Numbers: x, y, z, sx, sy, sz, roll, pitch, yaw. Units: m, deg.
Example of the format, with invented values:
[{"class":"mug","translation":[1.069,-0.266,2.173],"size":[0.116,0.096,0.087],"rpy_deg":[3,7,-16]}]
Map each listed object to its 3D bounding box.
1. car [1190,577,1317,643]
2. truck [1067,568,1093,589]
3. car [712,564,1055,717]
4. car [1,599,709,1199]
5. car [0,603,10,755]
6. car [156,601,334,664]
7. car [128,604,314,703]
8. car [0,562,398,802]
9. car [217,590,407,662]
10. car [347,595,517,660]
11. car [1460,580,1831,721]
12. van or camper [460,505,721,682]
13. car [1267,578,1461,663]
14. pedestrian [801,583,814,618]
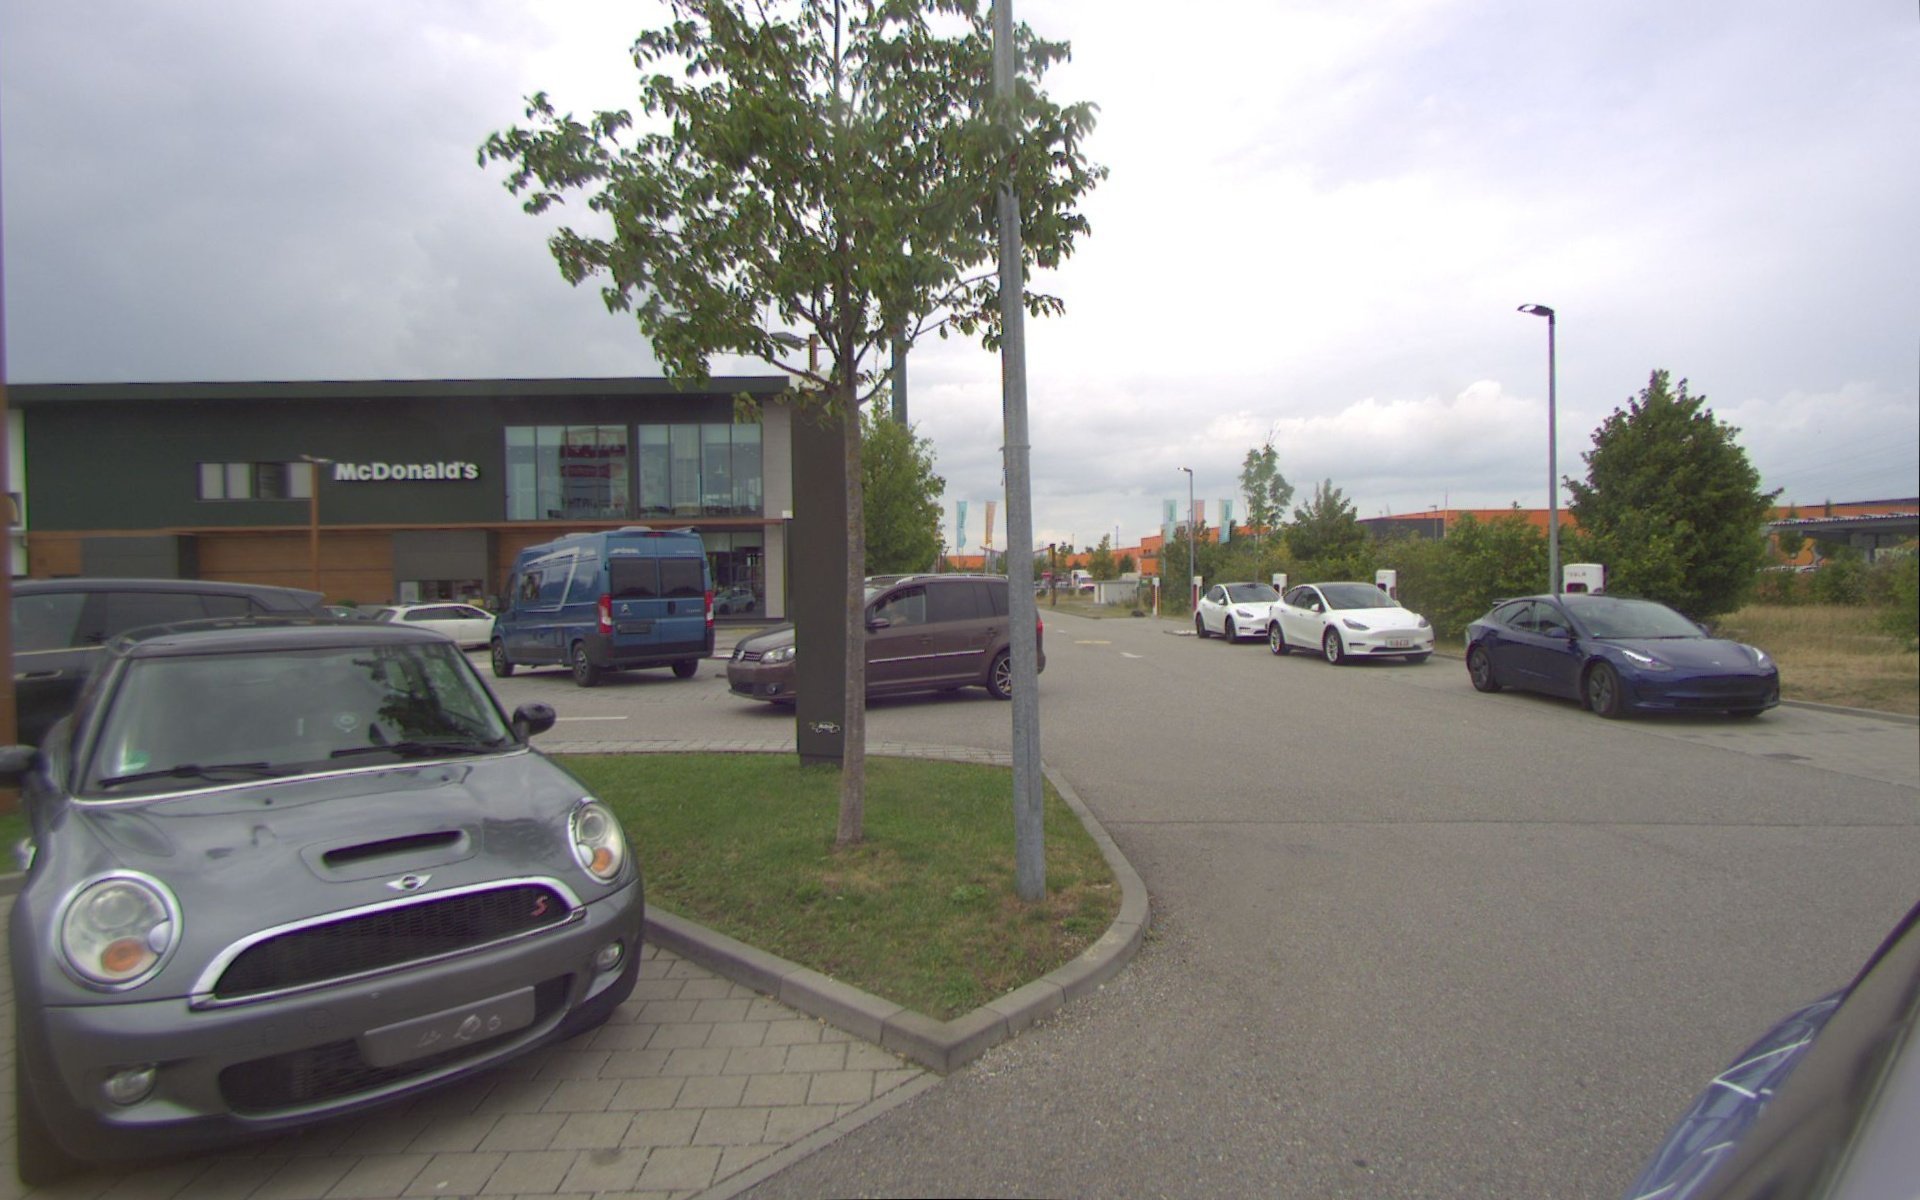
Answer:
[{"class":"car","translation":[8.164,0.202,28.716],"size":[2.033,1.622,4.947],"rpy_deg":[-1,2,-1]},{"class":"truck","translation":[14.205,-2.557,120.018],"size":[2.107,2.479,5.464],"rpy_deg":[0,1,-2]},{"class":"car","translation":[-0.941,0.419,13.213],"size":[4.109,1.711,1.812],"rpy_deg":[0,1,-33]},{"class":"car","translation":[-2.534,0.744,3.896],"size":[1.582,1.393,3.521],"rpy_deg":[0,2,-42]},{"class":"car","translation":[-10.919,0.805,8.550],"size":[1.821,1.429,3.950],"rpy_deg":[-1,0,35]},{"class":"car","translation":[-21.091,0.899,29.945],"size":[1.831,1.593,4.029],"rpy_deg":[0,2,43]},{"class":"car","translation":[-12.633,0.827,17.242],"size":[3.558,1.472,1.816],"rpy_deg":[-1,0,41]},{"class":"car","translation":[-7.554,0.583,8.263],"size":[1.990,1.749,4.827],"rpy_deg":[0,1,39]},{"class":"car","translation":[-18.481,0.661,29.025],"size":[1.889,1.682,4.202],"rpy_deg":[1,4,38]},{"class":"car","translation":[-15.077,0.717,29.074],"size":[1.781,1.504,3.947],"rpy_deg":[1,4,38]},{"class":"car","translation":[8.574,0.506,13.262],"size":[1.799,1.477,4.457],"rpy_deg":[-1,1,0]},{"class":"van or camper","translation":[-7.067,-0.057,18.756],"size":[2.136,2.735,6.557],"rpy_deg":[0,-1,-43]},{"class":"car","translation":[8.309,0.345,21.344],"size":[2.032,1.573,4.482],"rpy_deg":[-1,1,-4]},{"class":"pedestrian","translation":[-5.907,0.002,39.188],"size":[0.425,1.327,0.481],"rpy_deg":[0,1,0]}]
